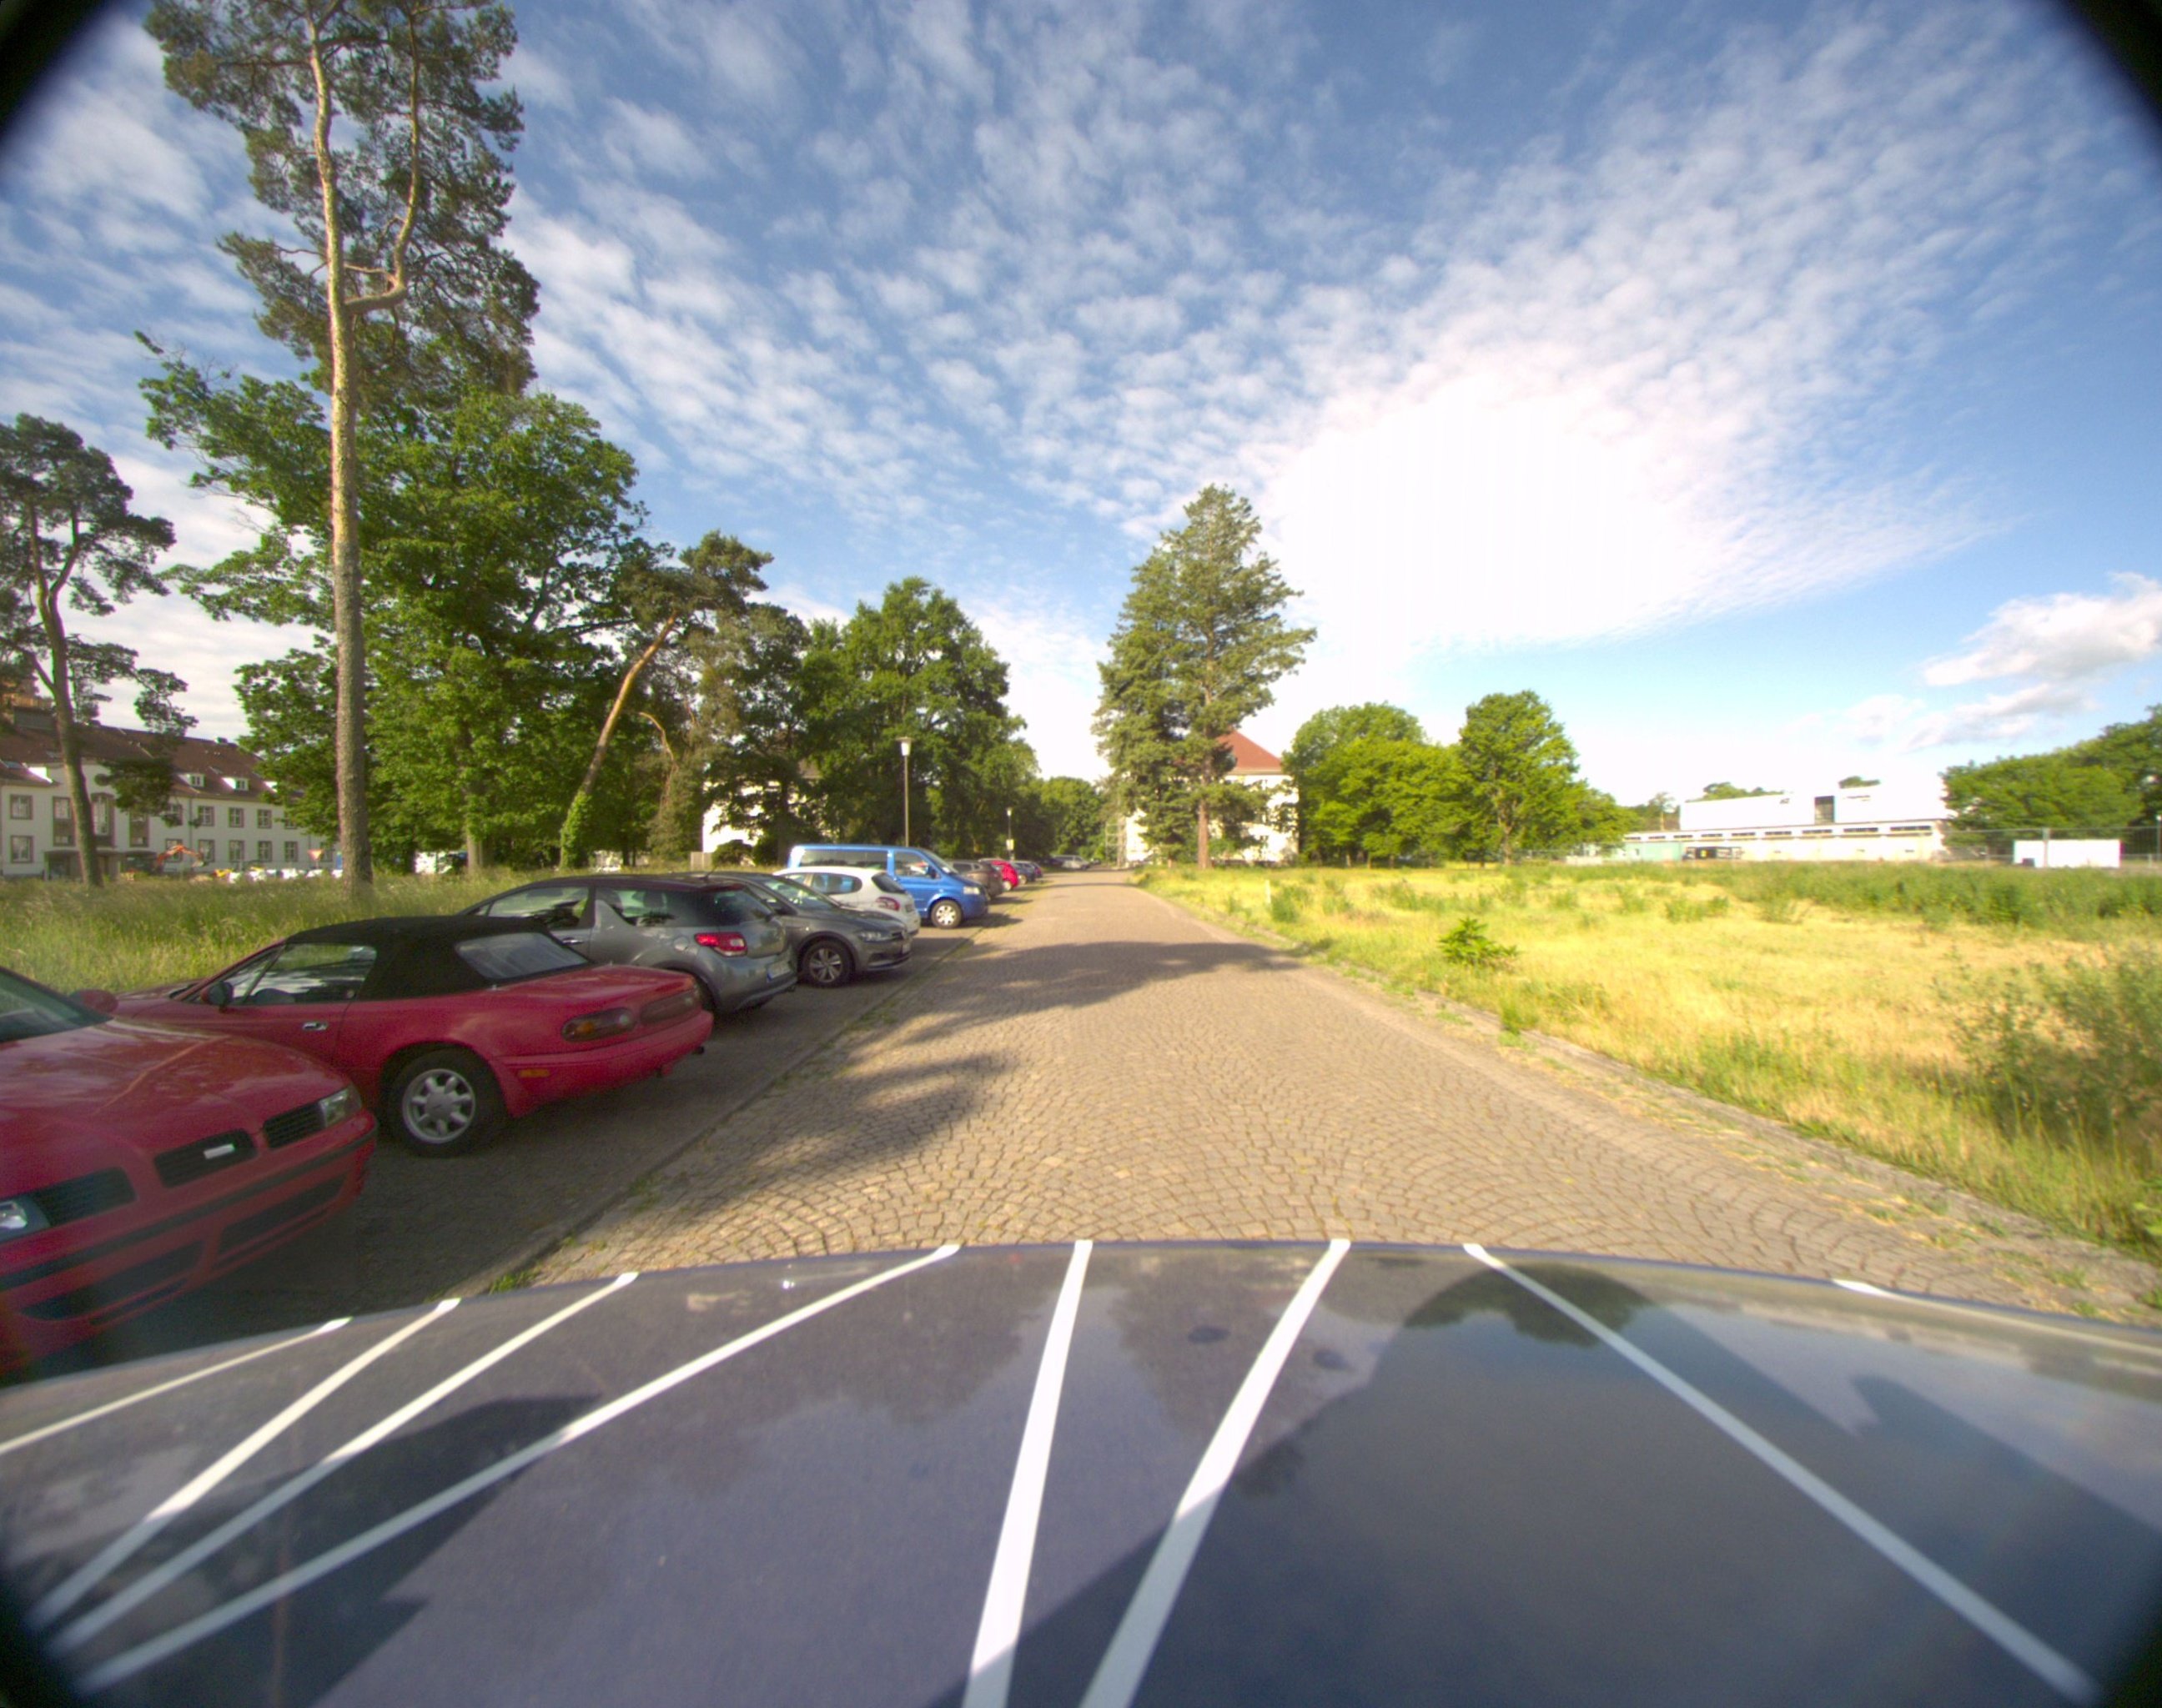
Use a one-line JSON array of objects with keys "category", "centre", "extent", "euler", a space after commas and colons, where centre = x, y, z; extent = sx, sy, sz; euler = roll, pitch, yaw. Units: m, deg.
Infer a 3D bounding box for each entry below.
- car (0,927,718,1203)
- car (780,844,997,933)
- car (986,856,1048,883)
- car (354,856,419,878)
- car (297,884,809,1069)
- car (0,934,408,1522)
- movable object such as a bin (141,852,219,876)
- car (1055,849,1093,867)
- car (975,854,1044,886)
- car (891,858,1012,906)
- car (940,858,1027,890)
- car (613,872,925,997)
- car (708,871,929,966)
[{"category": "car", "centre": [-4.237, 1.153, 4.612], "extent": [3.357, 1.248, 1.420], "euler": [-1, 0, 0]}, {"category": "car", "centre": [-4.544, 0.792, 18.480], "extent": [4.726, 2.002, 2.000], "euler": [-1, 0, 2]}, {"category": "car", "centre": [-4.423, 1.057, 52.762], "extent": [3.996, 1.605, 1.757], "euler": [-3, 1, 5]}, {"category": "car", "centre": [-68.339, 1.247, 74.878], "extent": [1.998, 2.002, 4.773], "euler": [-1, 0, 1]}, {"category": "car", "centre": [-4.779, 1.075, 7.269], "extent": [3.779, 1.482, 1.549], "euler": [-1, 0, 0]}, {"category": "car", "centre": [-4.772, 1.026, 2.333], "extent": [3.918, 1.385, 1.661], "euler": [1, 0, 0]}, {"category": "movable object such as a bin", "centre": [-90.448, 0.937, 76.379], "extent": [1.999, 2.309, 4.985], "euler": [0, 0, -3]}, {"category": "car", "centre": [-0.938, 0.550, 101.404], "extent": [5.068, 2.251, 2.000], "euler": [-1, 1, 0]}, {"category": "car", "centre": [-4.490, 0.978, 47.966], "extent": [3.996, 1.731, 1.756], "euler": [-3, 1, 3]}, {"category": "car", "centre": [-4.620, 0.989, 27.417], "extent": [3.996, 1.630, 1.757], "euler": [-1, 0, 3]}, {"category": "car", "centre": [-4.811, 0.967, 37.777], "extent": [3.996, 1.509, 1.757], "euler": [-1, 0, 3]}, {"category": "car", "centre": [-4.112, 1.009, 10.239], "extent": [3.620, 1.482, 1.509], "euler": [-1, 0, 10]}, {"category": "car", "centre": [-4.424, 1.070, 13.093], "extent": [3.264, 1.482, 1.449], "euler": [-1, 0, 3]}]
